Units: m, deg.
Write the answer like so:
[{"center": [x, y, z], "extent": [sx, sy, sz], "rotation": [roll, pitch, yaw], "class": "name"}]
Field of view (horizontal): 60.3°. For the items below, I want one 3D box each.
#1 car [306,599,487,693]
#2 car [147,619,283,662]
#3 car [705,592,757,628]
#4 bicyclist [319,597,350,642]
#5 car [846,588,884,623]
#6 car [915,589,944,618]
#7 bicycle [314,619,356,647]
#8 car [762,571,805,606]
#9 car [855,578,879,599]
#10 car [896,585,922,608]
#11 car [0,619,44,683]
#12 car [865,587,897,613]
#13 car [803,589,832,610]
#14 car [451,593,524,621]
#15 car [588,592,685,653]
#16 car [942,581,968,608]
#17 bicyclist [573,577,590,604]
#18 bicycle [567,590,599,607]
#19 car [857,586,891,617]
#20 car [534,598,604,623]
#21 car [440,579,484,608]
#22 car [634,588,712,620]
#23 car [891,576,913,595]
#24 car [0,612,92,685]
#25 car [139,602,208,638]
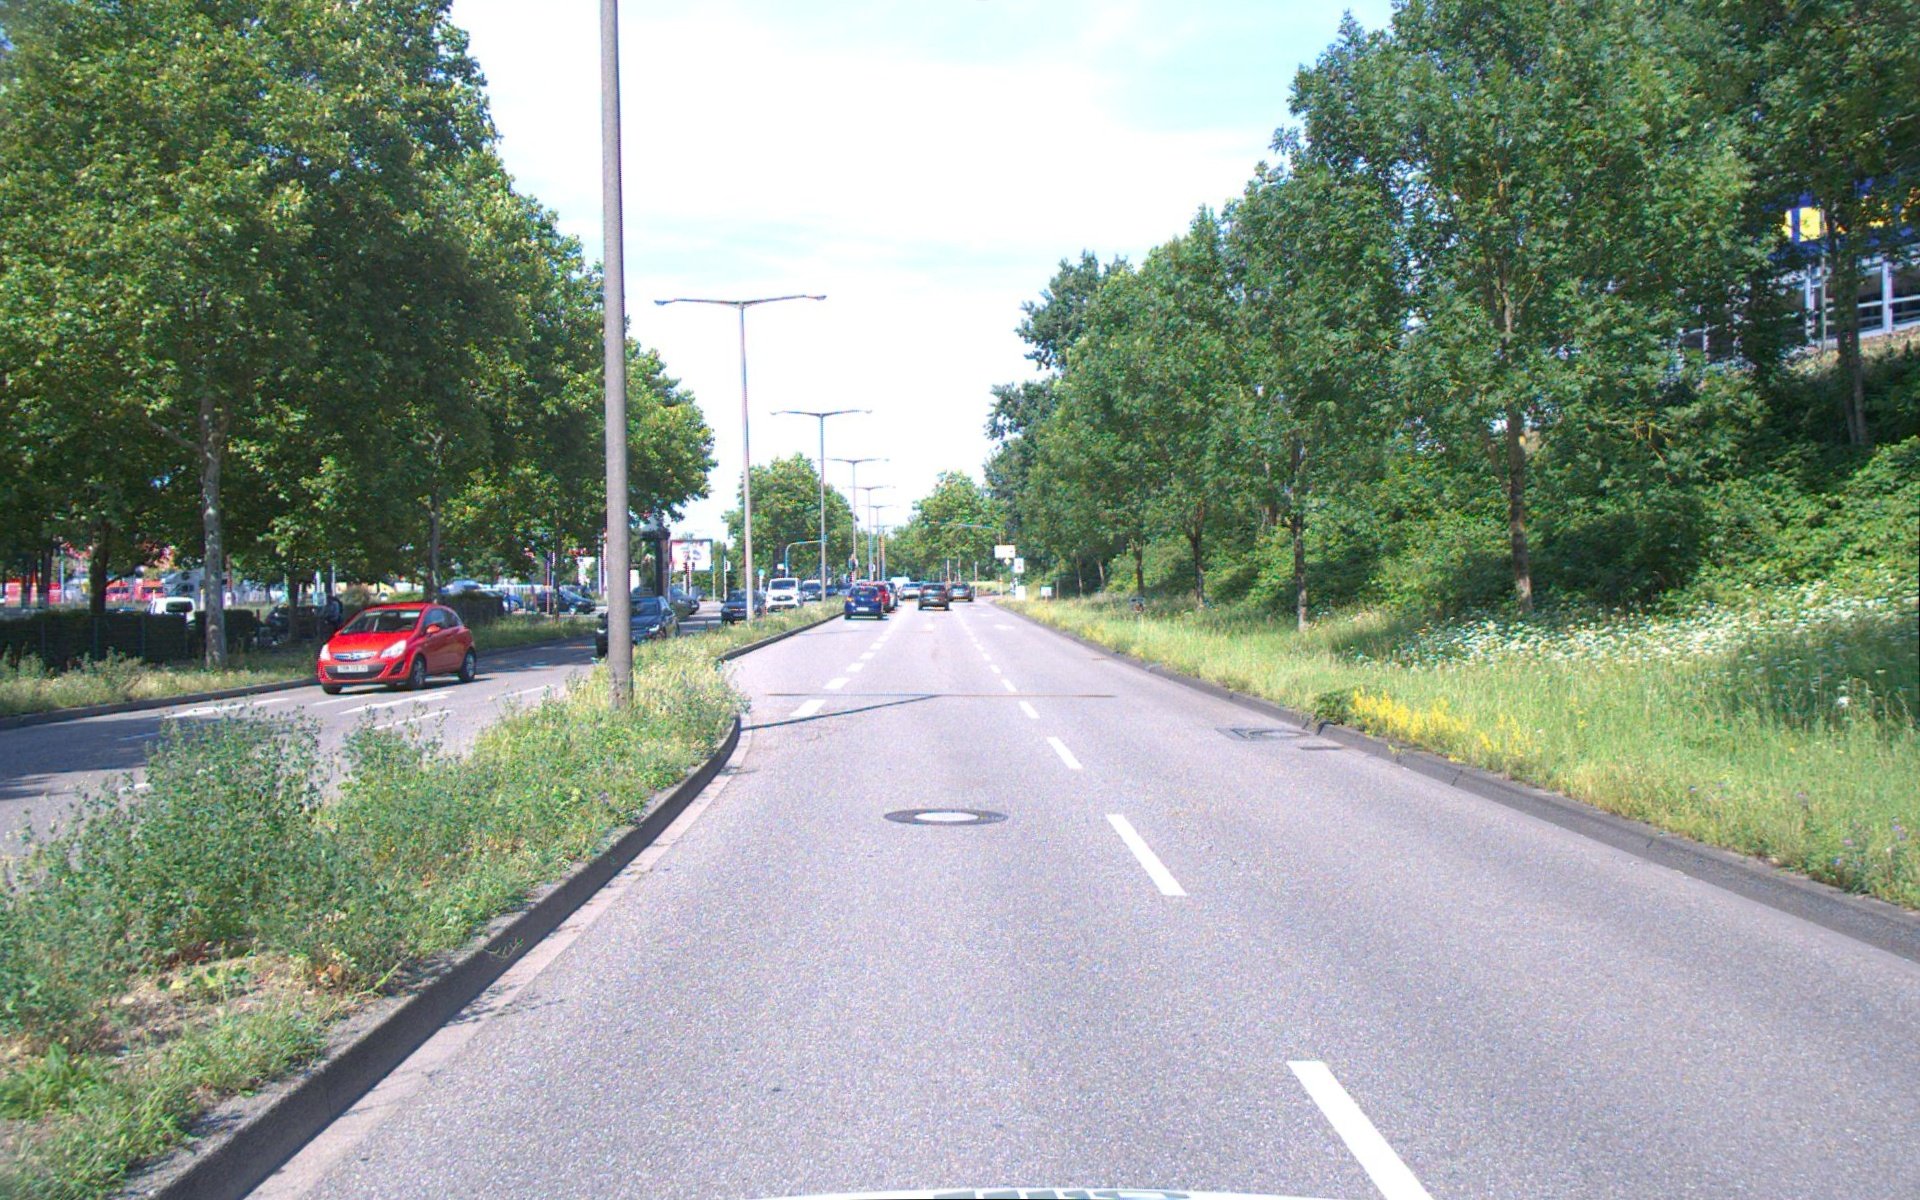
[{"center": [-10.021, 0.765, 29.726], "extent": [1.727, 1.488, 4.001], "rotation": [-2, 0, 2], "class": "car"}, {"center": [-25.856, 1.402, 57.481], "extent": [3.911, 1.438, 1.802], "rotation": [-1, -1, -7], "class": "car"}, {"center": [-10.067, 0.432, 72.898], "extent": [1.732, 1.494, 4.283], "rotation": [-2, 0, -1], "class": "car"}, {"center": [-21.114, 0.656, 55.816], "extent": [0.667, 1.511, 0.941], "rotation": [-1, 0, -1], "class": "bicyclist"}, {"center": [-4.286, 0.213, 75.085], "extent": [1.593, 1.509, 4.047], "rotation": [1, 1, -2], "class": "car"}, {"center": [-1.805, 0.195, 98.506], "extent": [1.701, 1.562, 4.001], "rotation": [0, 3, -1], "class": "car"}, {"center": [-21.104, 1.123, 55.889], "extent": [0.675, 0.881, 1.926], "rotation": [-1, 0, -1], "class": "bicycle"}, {"center": [-10.354, -0.674, 97.477], "extent": [2.074, 1.916, 5.417], "rotation": [-2, 0, -2], "class": "car"}, {"center": [-8.811, -1.092, 156.721], "extent": [1.953, 1.892, 4.000], "rotation": [-1, 0, 0], "class": "car"}, {"center": [-4.008, -0.270, 130.350], "extent": [1.953, 1.774, 4.264], "rotation": [-1, 0, -1], "class": "car"}, {"center": [-24.548, 1.265, 39.880], "extent": [3.905, 1.490, 1.772], "rotation": [-2, 0, -1], "class": "car"}, {"center": [-4.582, -0.016, 96.345], "extent": [1.730, 1.505, 4.134], "rotation": [1, 1, -2], "class": "car"}, {"center": [-11.437, -0.057, 132.910], "extent": [1.953, 1.557, 4.681], "rotation": [-2, 0, -1], "class": "car"}, {"center": [-29.584, 0.422, 103.601], "extent": [4.061, 1.631, 1.724], "rotation": [-1, 0, 11], "class": "car"}, {"center": [-8.514, 0.566, 43.861], "extent": [1.802, 1.504, 4.165], "rotation": [-1, 0, -1], "class": "car"}, {"center": [-0.392, -0.421, 125.886], "extent": [1.977, 1.869, 4.001], "rotation": [0, 3, -1], "class": "car"}, {"center": [-25.446, -0.648, 111.196], "extent": [0.890, 1.745, 0.772], "rotation": [-2, 3, -37], "class": "bicyclist"}, {"center": [-25.367, -0.110, 111.321], "extent": [1.933, 1.000, 0.779], "rotation": [-2, 3, -38], "class": "bicycle"}, {"center": [-4.626, 0.073, 89.587], "extent": [1.746, 1.620, 4.592], "rotation": [0, 1, -2], "class": "car"}, {"center": [-24.065, 0.640, 101.798], "extent": [3.908, 1.412, 1.764], "rotation": [-1, 2, 26], "class": "car"}, {"center": [-46.043, -0.564, 152.853], "extent": [1.986, 2.577, 4.563], "rotation": [-2, 1, -45], "class": "car"}, {"center": [-17.042, 0.240, 98.188], "extent": [4.301, 1.781, 1.866], "rotation": [-1, 0, 29], "class": "car"}, {"center": [-5.332, -1.325, 152.338], "extent": [1.953, 1.738, 4.263], "rotation": [-1, 0, -1], "class": "car"}, {"center": [-25.146, 1.245, 43.074], "extent": [3.904, 1.855, 2.157], "rotation": [0, 0, 3], "class": "car"}, {"center": [-39.403, 1.005, 82.796], "extent": [1.982, 1.694, 4.774], "rotation": [-2, 0, -40], "class": "car"}]
